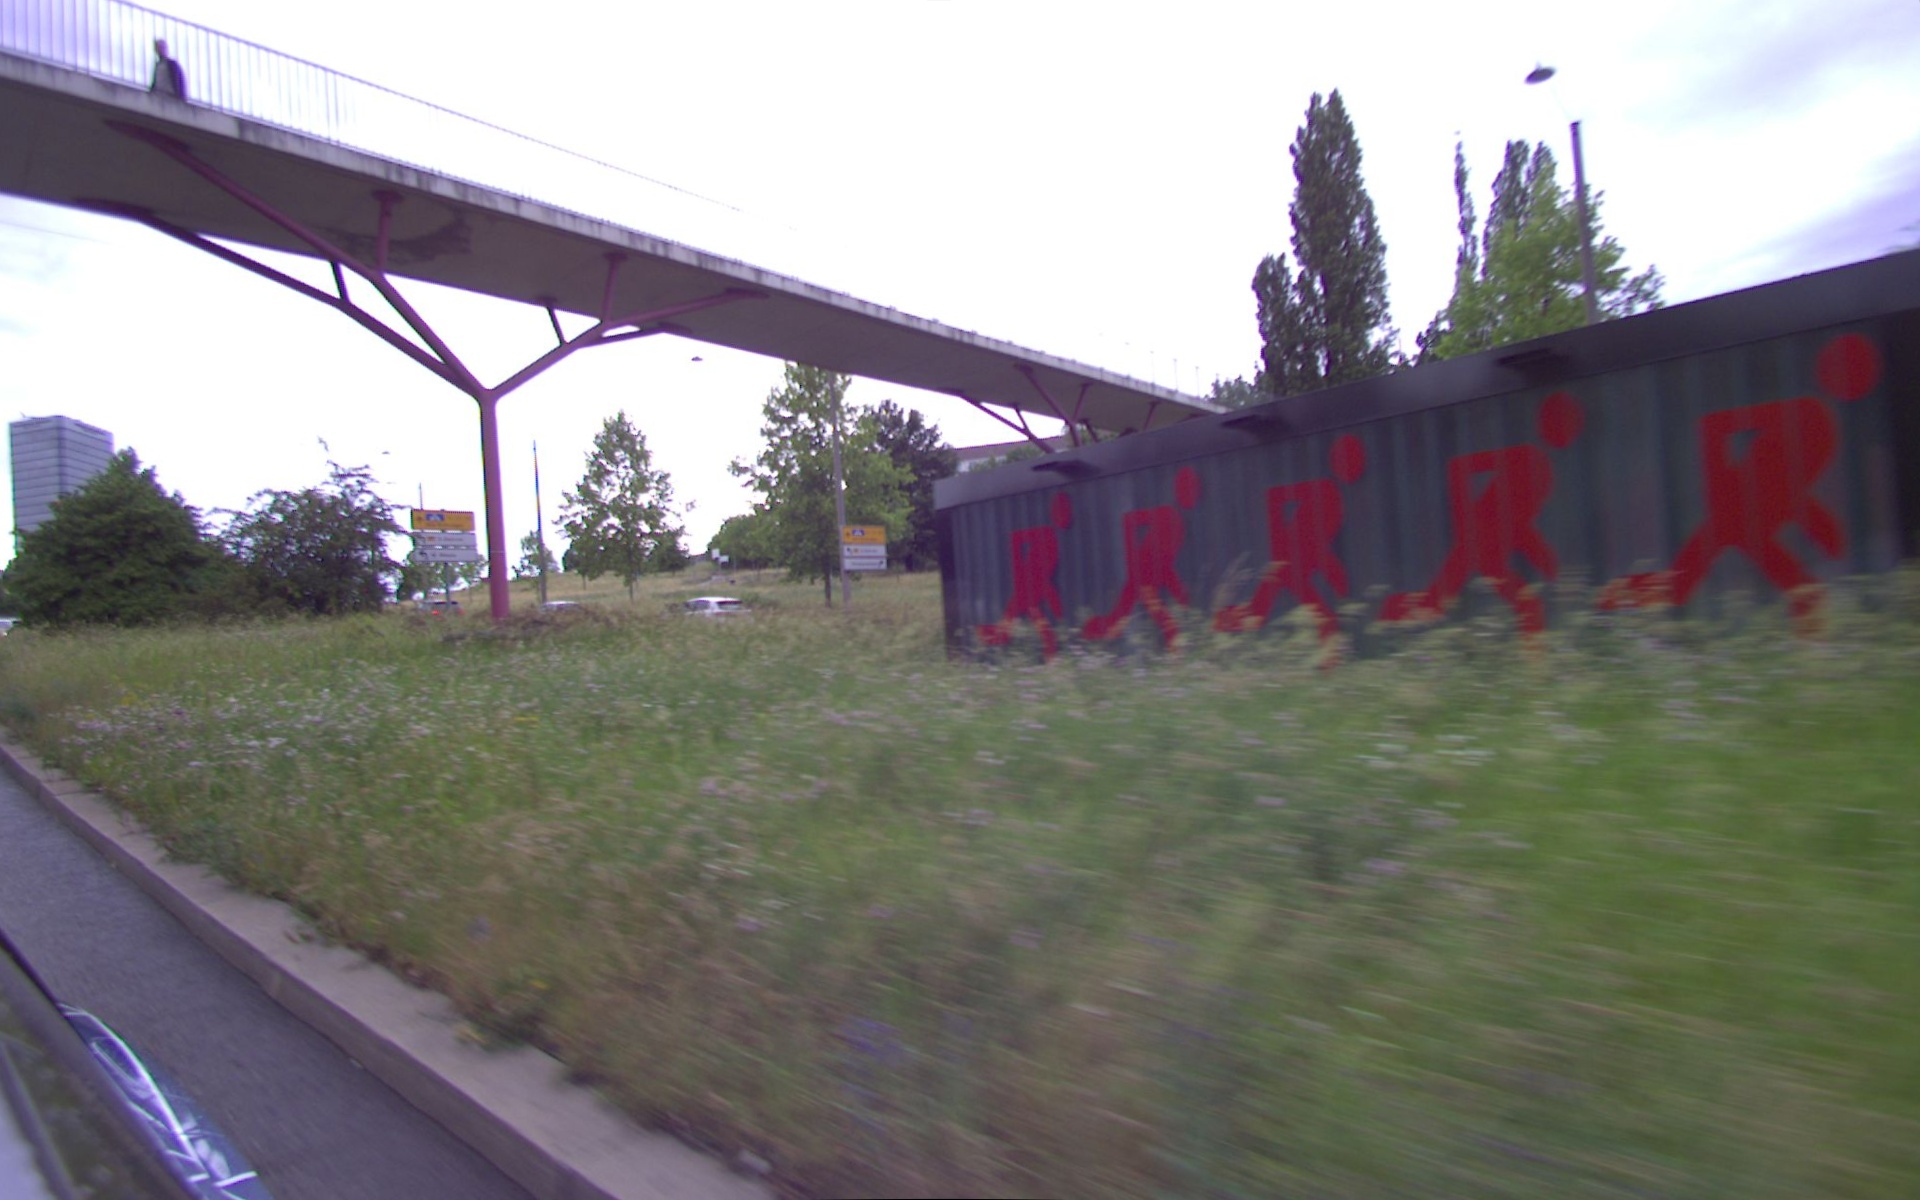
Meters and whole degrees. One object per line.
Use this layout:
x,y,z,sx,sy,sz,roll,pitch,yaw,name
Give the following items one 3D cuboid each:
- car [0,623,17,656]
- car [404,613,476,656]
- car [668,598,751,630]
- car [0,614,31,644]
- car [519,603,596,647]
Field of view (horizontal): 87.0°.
-53.880,2.184,55.953,1.967,1.785,4.010,1,-3,-35,car
-27.333,1.754,53.152,4.000,2.028,1.972,-1,3,43,car
-8.681,0.458,35.017,3.086,0.951,1.253,1,4,42,car
-60.588,1.837,64.222,1.967,1.785,4.009,-1,0,-36,car
-20.326,1.245,51.051,4.000,2.028,1.972,-1,3,43,car
